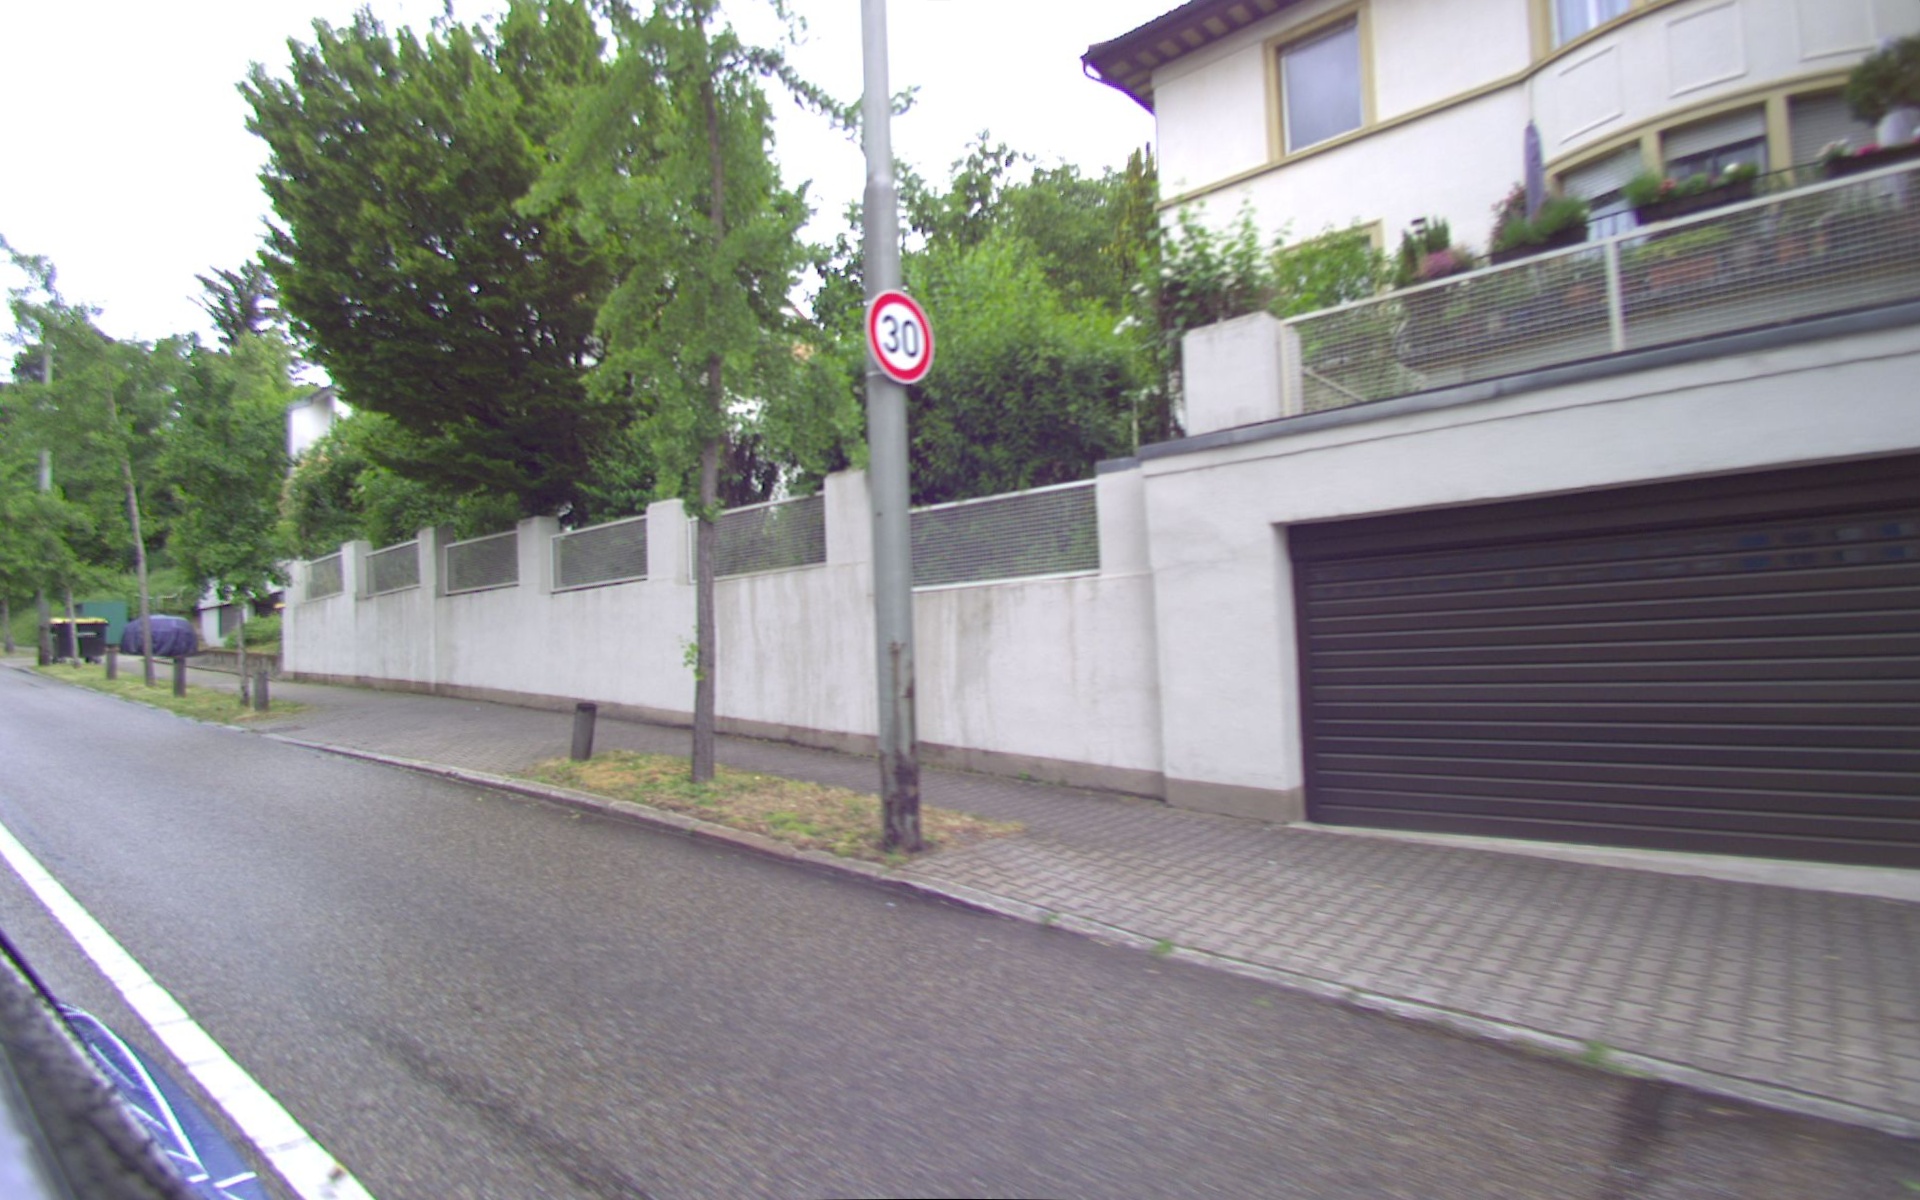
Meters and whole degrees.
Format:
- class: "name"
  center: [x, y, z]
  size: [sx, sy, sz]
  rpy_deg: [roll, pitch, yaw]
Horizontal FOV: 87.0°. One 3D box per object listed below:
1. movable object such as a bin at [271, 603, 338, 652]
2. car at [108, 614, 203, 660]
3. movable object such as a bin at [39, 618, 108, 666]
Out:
- class: "movable object such as a bin"
  center: [-18.820, 0.797, 29.055]
  size: [1.158, 1.325, 1.252]
  rpy_deg: [-4, -3, 32]
- class: "car"
  center: [-29.932, 1.377, 37.626]
  size: [3.861, 1.503, 1.833]
  rpy_deg: [-1, -7, 39]
- class: "movable object such as a bin"
  center: [-25.861, 1.210, 29.530]
  size: [1.120, 1.361, 1.213]
  rpy_deg: [0, -1, 32]
